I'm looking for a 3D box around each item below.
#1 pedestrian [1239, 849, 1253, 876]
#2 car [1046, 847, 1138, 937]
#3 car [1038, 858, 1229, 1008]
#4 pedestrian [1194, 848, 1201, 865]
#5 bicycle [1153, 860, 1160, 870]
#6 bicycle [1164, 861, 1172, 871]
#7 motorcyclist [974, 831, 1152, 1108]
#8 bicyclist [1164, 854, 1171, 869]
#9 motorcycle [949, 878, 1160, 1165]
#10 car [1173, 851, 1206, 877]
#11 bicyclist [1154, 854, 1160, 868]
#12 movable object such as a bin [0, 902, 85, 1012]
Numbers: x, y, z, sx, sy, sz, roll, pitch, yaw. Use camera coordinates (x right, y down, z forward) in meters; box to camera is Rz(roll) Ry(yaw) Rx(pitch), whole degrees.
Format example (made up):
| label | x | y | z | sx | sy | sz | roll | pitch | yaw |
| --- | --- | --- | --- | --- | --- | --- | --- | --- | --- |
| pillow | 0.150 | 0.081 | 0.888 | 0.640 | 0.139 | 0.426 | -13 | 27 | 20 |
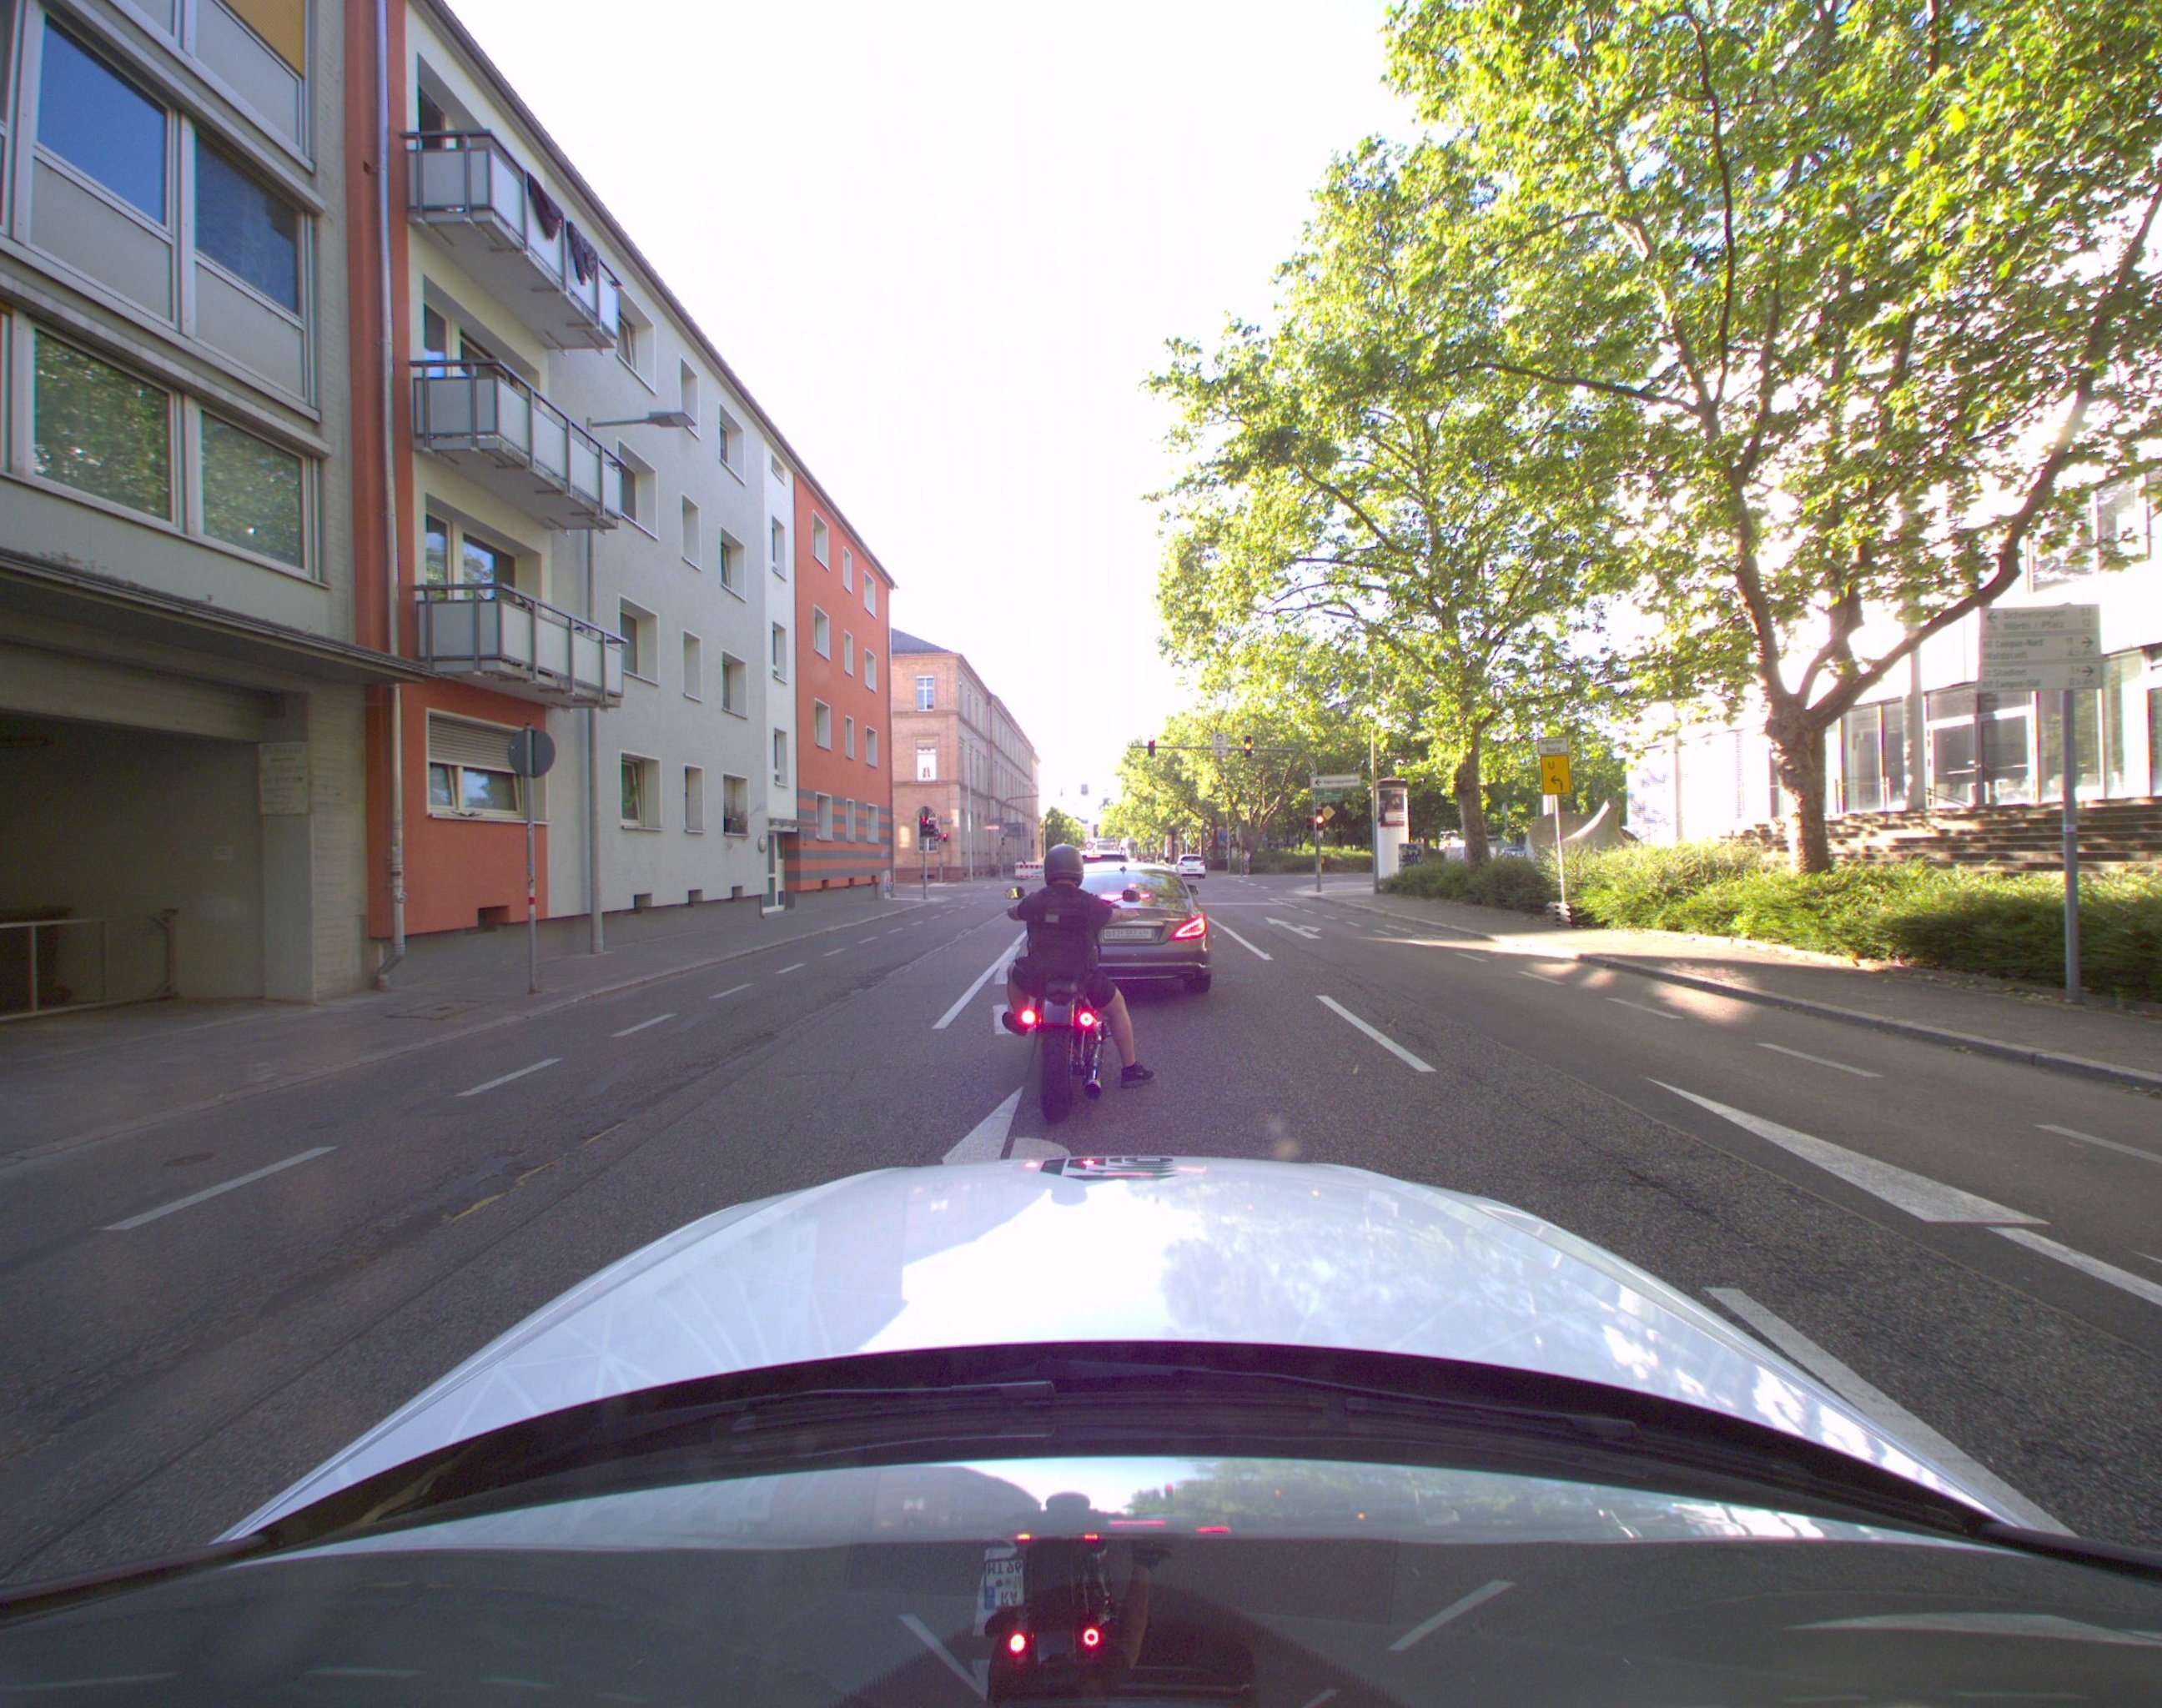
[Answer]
| label | x | y | z | sx | sy | sz | roll | pitch | yaw |
| --- | --- | --- | --- | --- | --- | --- | --- | --- | --- |
| pedestrian | 10.751 | 0.545 | 53.091 | 0.574 | 1.774 | 0.619 | 1 | -1 | -33 |
| car | 0.129 | 0.714 | 16.848 | 1.627 | 1.651 | 3.845 | 0 | 0 | -4 |
| car | 0.564 | 0.773 | 9.773 | 1.821 | 1.420 | 3.816 | -1 | 0 | 2 |
| pedestrian | 11.177 | 0.236 | 78.118 | 0.590 | 1.578 | 0.527 | 0 | -1 | 2 |
| bicycle | 8.825 | 1.253 | 94.863 | 0.653 | 1.111 | 2.186 | 0 | -1 | 2 |
| bicycle | 8.989 | 1.221 | 84.396 | 0.654 | 1.070 | 1.927 | 0 | -1 | 1 |
| motorcyclist | -0.085 | 0.679 | 5.488 | 1.008 | 1.602 | 1.406 | -1 | 0 | 1 |
| bicyclist | 8.993 | 0.816 | 84.521 | 0.653 | 1.530 | 0.852 | 0 | -1 | 1 |
| motorcycle | -0.093 | 0.864 | 5.333 | 1.008 | 1.306 | 2.673 | -1 | 0 | 2 |
| car | 6.511 | 0.602 | 49.205 | 1.672 | 1.498 | 3.687 | 0 | 0 | 2 |
| bicyclist | 8.830 | 0.823 | 94.914 | 0.653 | 1.530 | 0.906 | 0 | -1 | 1 |
| movable object such as a bin | -11.224 | 1.076 | 8.638 | 0.487 | 1.088 | 0.654 | -1 | 0 | 1 |
